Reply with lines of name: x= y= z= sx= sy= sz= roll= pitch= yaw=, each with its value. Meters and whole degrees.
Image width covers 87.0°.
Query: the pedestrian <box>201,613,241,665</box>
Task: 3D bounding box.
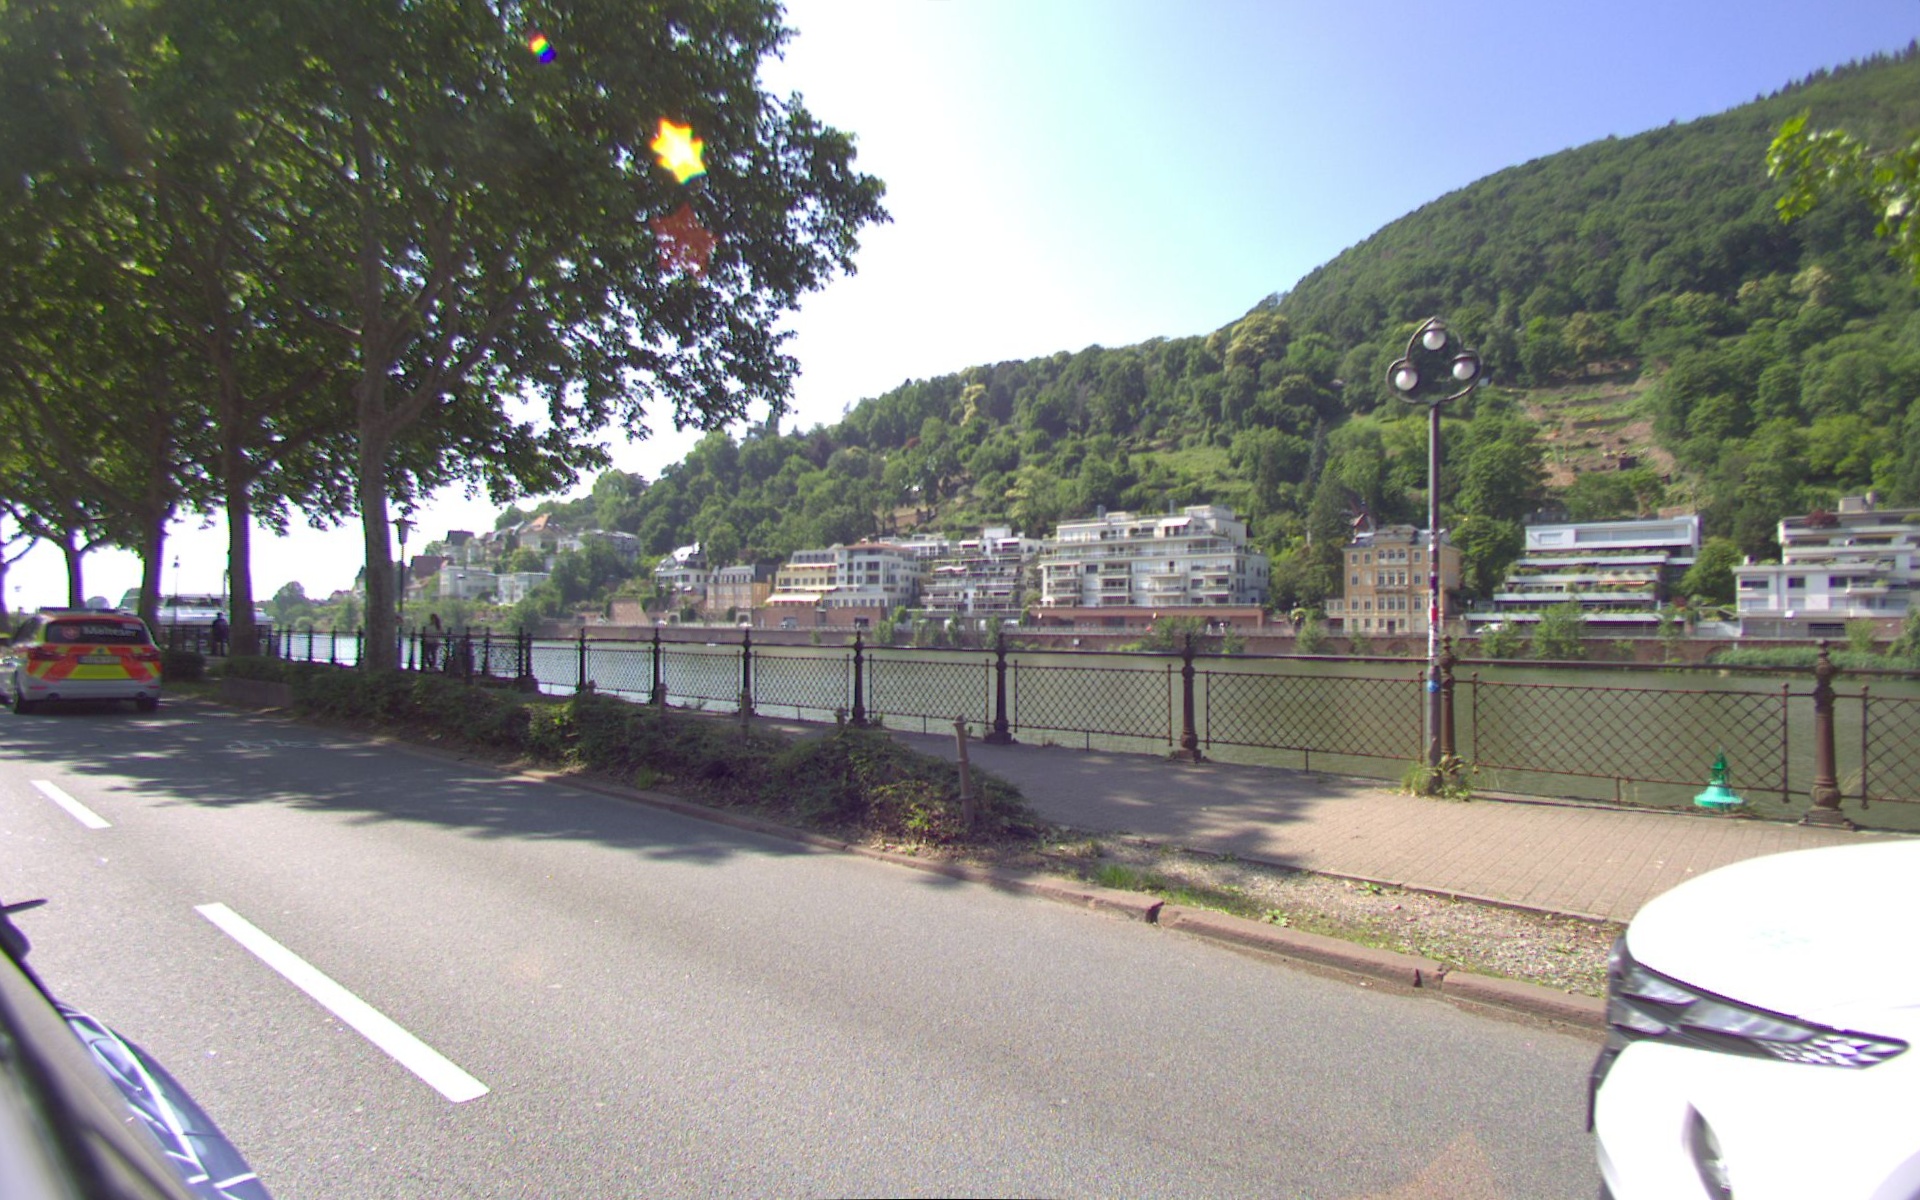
pedestrian: x=-29.628 y=1.544 z=40.578 sx=1.032 sy=2.029 sz=1.038 roll=0 pitch=0 yaw=-19

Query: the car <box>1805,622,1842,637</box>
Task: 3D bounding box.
car: x=125.793 y=4.249 z=147.481 sx=3.998 sy=2.029 sz=1.973 roll=-3 pitch=-2 yaw=41

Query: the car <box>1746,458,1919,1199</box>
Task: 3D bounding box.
car: x=3.225 y=0.667 z=0.838 sx=3.997 sy=1.673 sz=1.751 roll=-1 pitch=-4 yaw=40

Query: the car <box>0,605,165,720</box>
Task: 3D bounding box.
car: x=-14.814 y=1.003 z=16.825 sx=4.220 sy=1.673 sz=1.656 roll=-1 pitch=-5 yaw=41

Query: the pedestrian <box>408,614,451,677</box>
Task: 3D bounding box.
pedestrian: x=-15.182 y=1.307 z=28.949 sx=0.829 sy=1.771 sz=0.767 roll=-1 pitch=-4 yaw=40

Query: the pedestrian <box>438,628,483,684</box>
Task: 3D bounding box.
pedestrian: x=-12.750 y=1.414 z=25.848 sx=0.770 sy=1.398 sz=0.758 roll=-1 pitch=-3 yaw=40

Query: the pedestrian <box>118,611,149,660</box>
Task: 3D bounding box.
pedestrian: x=-32.475 y=1.370 z=39.766 sx=0.928 sy=1.863 sz=0.796 roll=0 pitch=0 yaw=41

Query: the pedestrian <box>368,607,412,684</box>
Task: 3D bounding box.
pedestrian: x=-14.361 y=1.144 z=25.486 sx=0.756 sy=1.915 sz=0.771 roll=3 pitch=-3 yaw=-42
